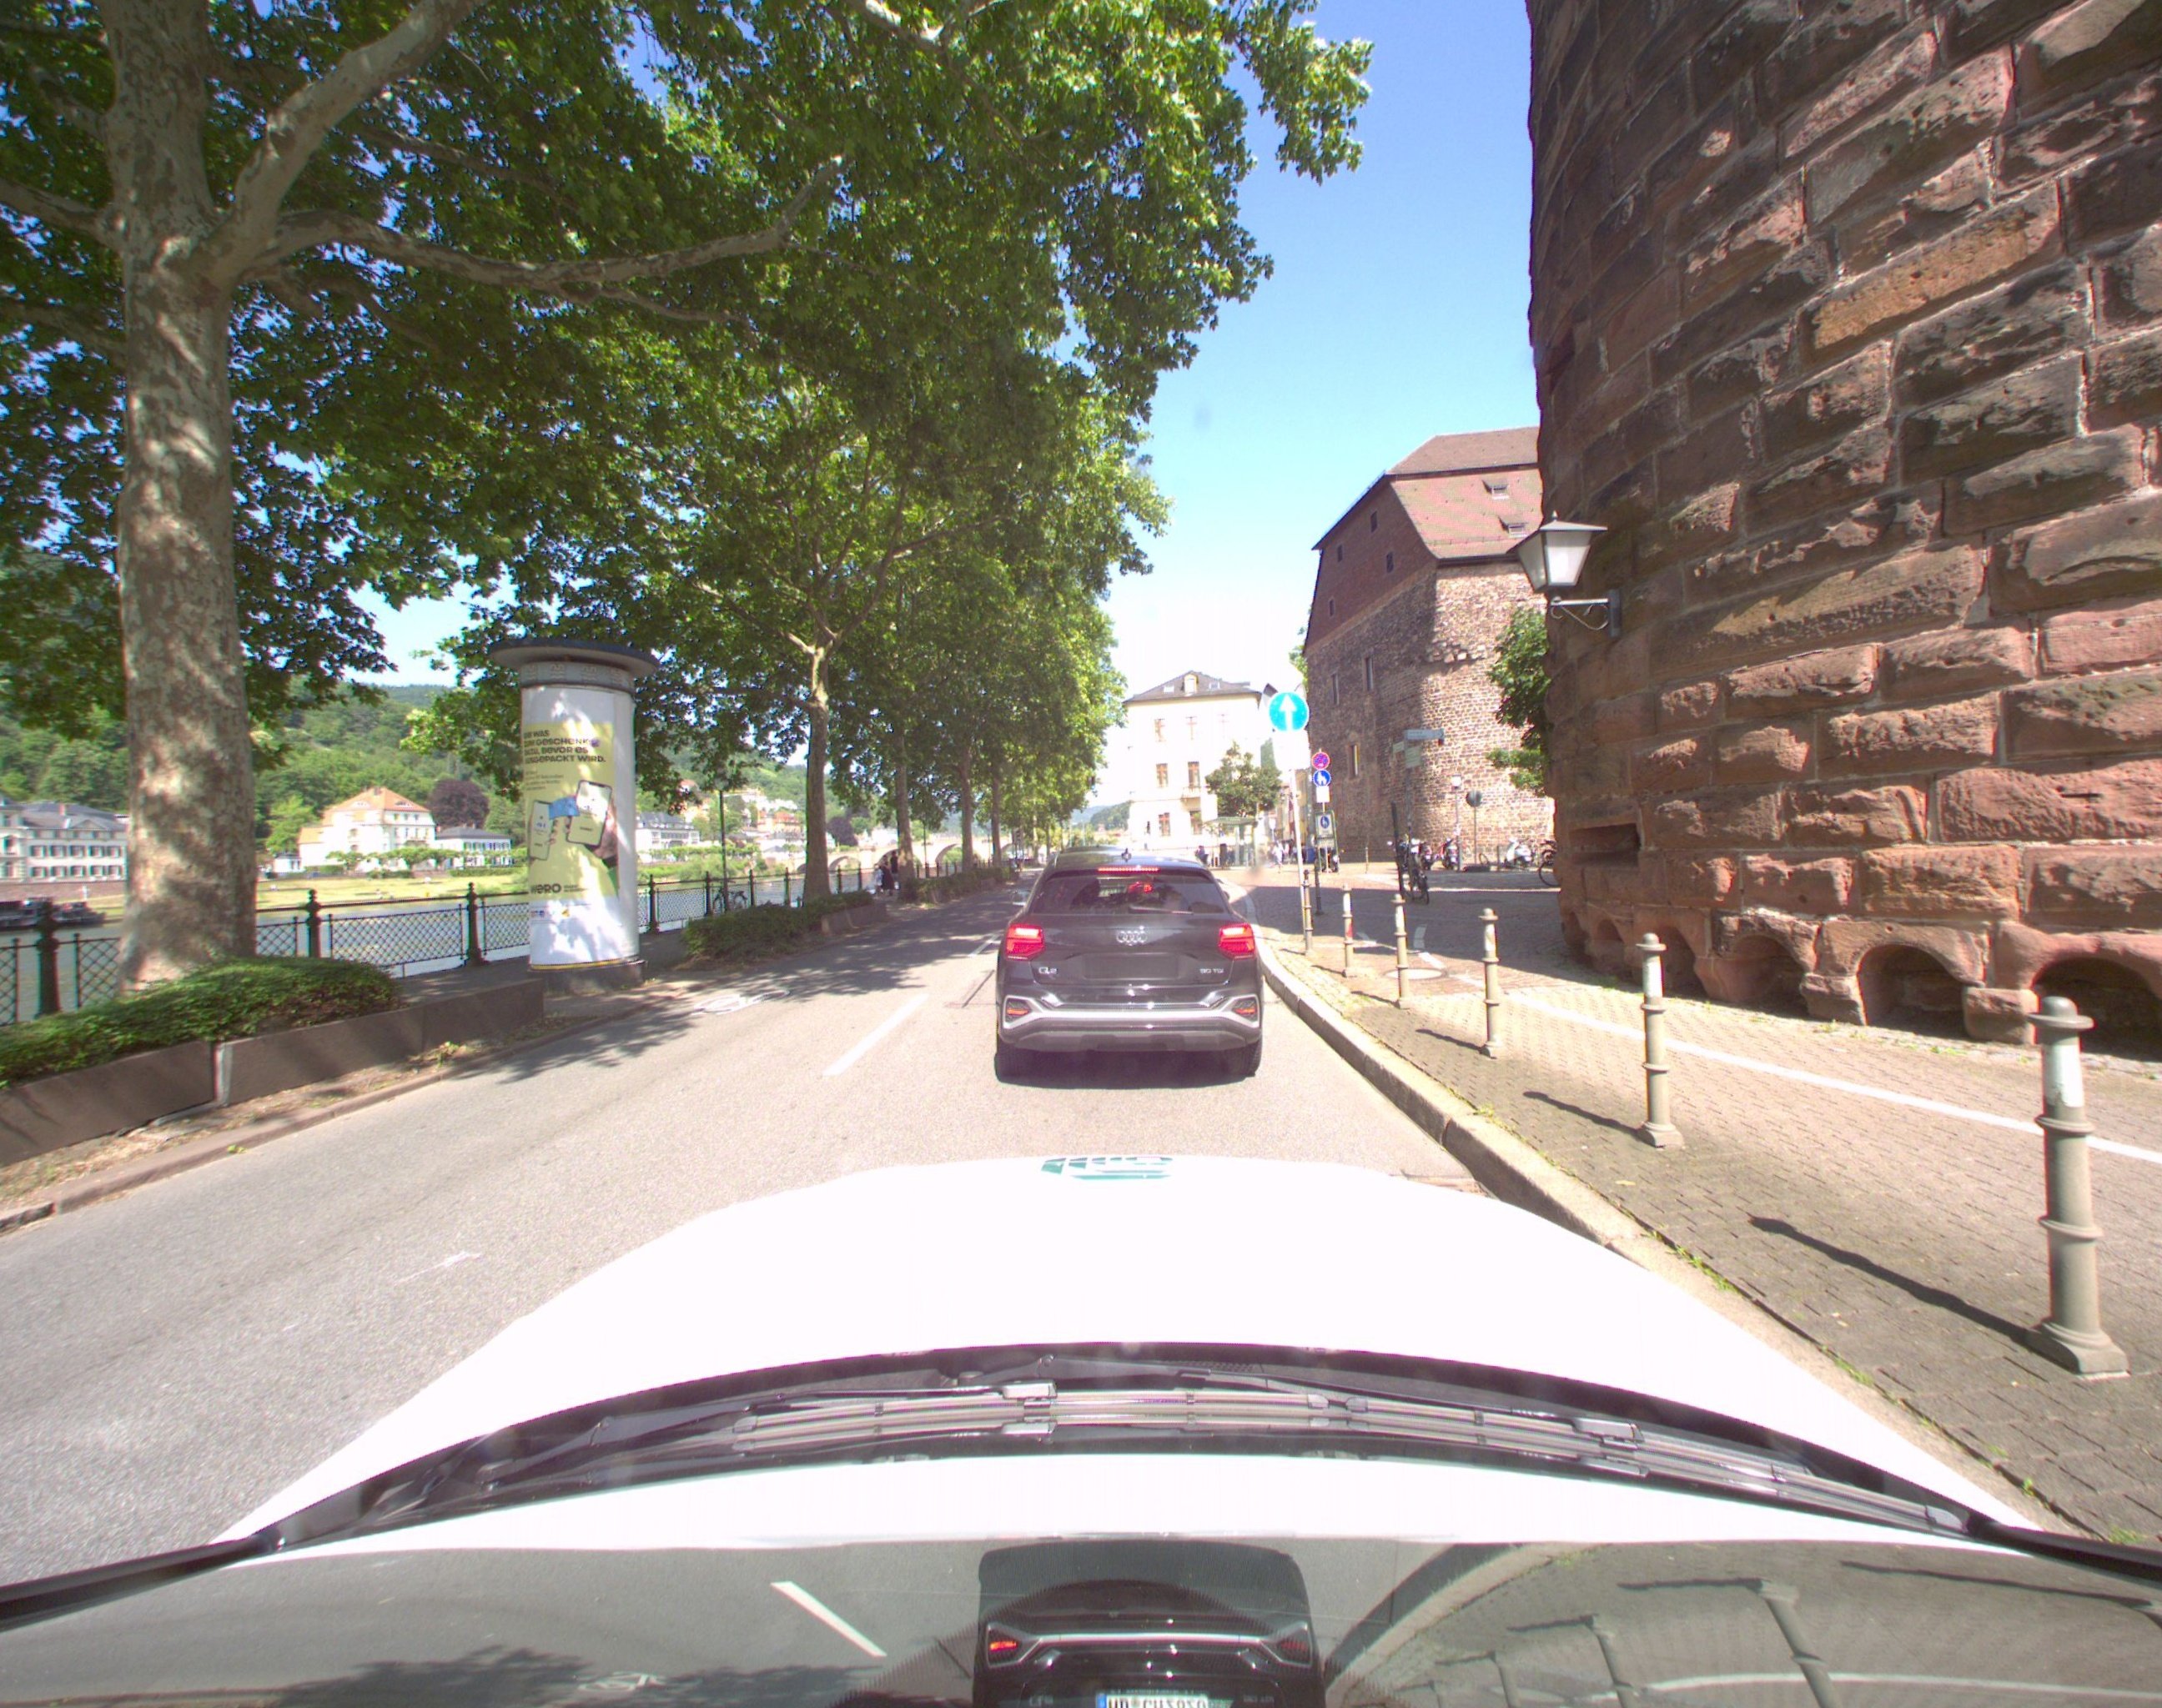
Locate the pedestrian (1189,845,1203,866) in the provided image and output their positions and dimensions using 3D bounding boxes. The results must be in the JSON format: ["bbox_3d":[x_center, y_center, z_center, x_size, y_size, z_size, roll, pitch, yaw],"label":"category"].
[{"bbox_3d":[6.905,0.097,48.888,0.662,1.231,0.640,0,-1,-5],"label":"pedestrian"}]

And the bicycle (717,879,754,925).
[{"bbox_3d":[-8.884,1.207,20.960,0.358,1.091,1.296,1,0,1],"label":"bicycle"}]

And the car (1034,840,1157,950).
[{"bbox_3d":[0.263,0.593,13.576,1.786,1.595,3.400,0,0,2],"label":"car"}]

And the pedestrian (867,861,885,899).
[{"bbox_3d":[-7.477,0.949,29.766,0.476,1.362,0.418,-2,0,5],"label":"pedestrian"}]

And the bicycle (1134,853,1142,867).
[{"bbox_3d":[4.359,0.459,62.498,0.436,1.086,1.675,0,-1,-2],"label":"bicycle"}]

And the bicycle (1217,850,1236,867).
[{"bbox_3d":[8.831,0.259,49.558,1.187,1.016,0.178,0,-1,-17],"label":"bicycle"}]

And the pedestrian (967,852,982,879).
[{"bbox_3d":[-7.278,0.793,55.603,0.906,1.811,0.586,-1,-2,6],"label":"pedestrian"}]

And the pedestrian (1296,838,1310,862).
[{"bbox_3d":[15.940,-0.282,58.432,0.688,1.612,0.892,-4,0,1],"label":"pedestrian"}]

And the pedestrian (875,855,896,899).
[{"bbox_3d":[-7.722,0.904,32.176,0.599,1.685,0.583,-3,0,0],"label":"pedestrian"}]

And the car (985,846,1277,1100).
[{"bbox_3d":[0.355,0.698,6.689,1.736,1.509,3.649,0,0,2],"label":"car"}]

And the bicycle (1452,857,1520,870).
[{"bbox_3d":[13.574,0.320,27.349,1.914,0.381,0.921,-2,-1,16],"label":"bicycle"}]

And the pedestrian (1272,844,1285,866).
[{"bbox_3d":[17.866,0.097,73.756,0.941,2.014,0.808,0,-1,2],"label":"pedestrian"}]

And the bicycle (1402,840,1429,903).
[{"bbox_3d":[6.849,0.330,16.730,0.192,1.203,1.775,-2,1,13],"label":"bicycle"}]

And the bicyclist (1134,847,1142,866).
[{"bbox_3d":[4.374,0.168,62.556,0.604,1.450,0.590,0,-1,-3],"label":"bicyclist"}]

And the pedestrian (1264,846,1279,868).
[{"bbox_3d":[12.750,0.213,54.497,0.637,1.444,0.797,-3,0,-5],"label":"pedestrian"}]

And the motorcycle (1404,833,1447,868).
[{"bbox_3d":[12.798,-0.127,30.323,0.672,1.235,2.313,0,-1,2],"label":"motorcycle"}]

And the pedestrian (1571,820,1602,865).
[{"bbox_3d":[20.954,-0.476,33.744,0.655,1.802,0.839,-1,0,-28],"label":"pedestrian"}]

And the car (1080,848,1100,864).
[{"bbox_3d":[1.052,0.223,90.658,1.985,1.806,4.003,-1,-1,3],"label":"car"}]

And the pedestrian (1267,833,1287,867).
[{"bbox_3d":[9.884,-0.202,41.009,0.800,1.662,0.660,-3,0,23],"label":"pedestrian"}]

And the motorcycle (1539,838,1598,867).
[{"bbox_3d":[18.391,-0.048,30.747,1.854,1.054,0.481,-1,-1,9],"label":"motorcycle"}]

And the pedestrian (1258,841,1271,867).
[{"bbox_3d":[9.571,0.008,42.565,0.555,1.385,0.588,-1,-1,4],"label":"pedestrian"}]

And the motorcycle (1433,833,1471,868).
[{"bbox_3d":[13.820,-0.114,30.376,0.544,1.235,2.031,0,-1,2],"label":"motorcycle"}]

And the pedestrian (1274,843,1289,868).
[{"bbox_3d":[16.068,0.129,65.274,0.937,2.014,0.807,0,-1,-1],"label":"pedestrian"}]

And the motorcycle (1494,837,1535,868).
[{"bbox_3d":[15.455,-0.044,29.079,0.505,1.073,1.841,0,-1,2],"label":"motorcycle"}]

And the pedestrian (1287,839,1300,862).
[{"bbox_3d":[15.326,-0.233,58.687,0.605,1.619,0.711,-4,-1,1],"label":"pedestrian"}]

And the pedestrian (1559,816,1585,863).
[{"bbox_3d":[21.354,-0.610,35.423,0.867,2.014,0.737,-1,-1,25],"label":"pedestrian"}]

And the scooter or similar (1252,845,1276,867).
[{"bbox_3d":[8.852,0.099,39.359,1.085,1.066,0.323,0,-1,-1],"label":"scooter or similar"}]

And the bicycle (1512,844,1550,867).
[{"bbox_3d":[16.633,0.051,30.142,0.352,0.820,1.926,0,1,1],"label":"bicycle"}]

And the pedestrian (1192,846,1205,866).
[{"bbox_3d":[6.939,0.115,48.106,0.662,1.211,0.640,0,-1,-5],"label":"pedestrian"}]

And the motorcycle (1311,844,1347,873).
[{"bbox_3d":[9.135,0.156,30.052,0.564,1.012,2.490,-2,0,1],"label":"motorcycle"}]

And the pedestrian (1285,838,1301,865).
[{"bbox_3d":[15.433,-0.192,59.354,0.753,1.890,0.744,-3,0,-23],"label":"pedestrian"}]

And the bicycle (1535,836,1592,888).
[{"bbox_3d":[11.524,0.175,19.490,0.444,1.162,1.733,-2,0,5],"label":"bicycle"}]

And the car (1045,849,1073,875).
[{"bbox_3d":[-1.573,0.550,59.217,1.667,1.660,4.224,-5,0,1],"label":"car"}]

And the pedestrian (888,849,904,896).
[{"bbox_3d":[-7.441,0.730,32.726,0.532,1.887,0.437,0,0,1],"label":"pedestrian"}]

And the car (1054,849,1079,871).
[{"bbox_3d":[-1.208,0.525,69.933,1.762,1.660,4.002,-6,0,2],"label":"car"}]

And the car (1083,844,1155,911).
[{"bbox_3d":[0.978,0.564,21.673,1.704,1.609,3.656,-1,0,2],"label":"car"}]

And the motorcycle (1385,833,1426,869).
[{"bbox_3d":[11.905,-0.089,29.917,0.653,1.266,2.201,-2,-1,2],"label":"motorcycle"}]

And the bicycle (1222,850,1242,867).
[{"bbox_3d":[9.060,0.251,48.924,1.205,1.035,0.178,0,-1,-17],"label":"bicycle"}]

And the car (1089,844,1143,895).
[{"bbox_3d":[1.248,0.513,29.203,1.788,1.682,4.002,-1,0,2],"label":"car"}]
